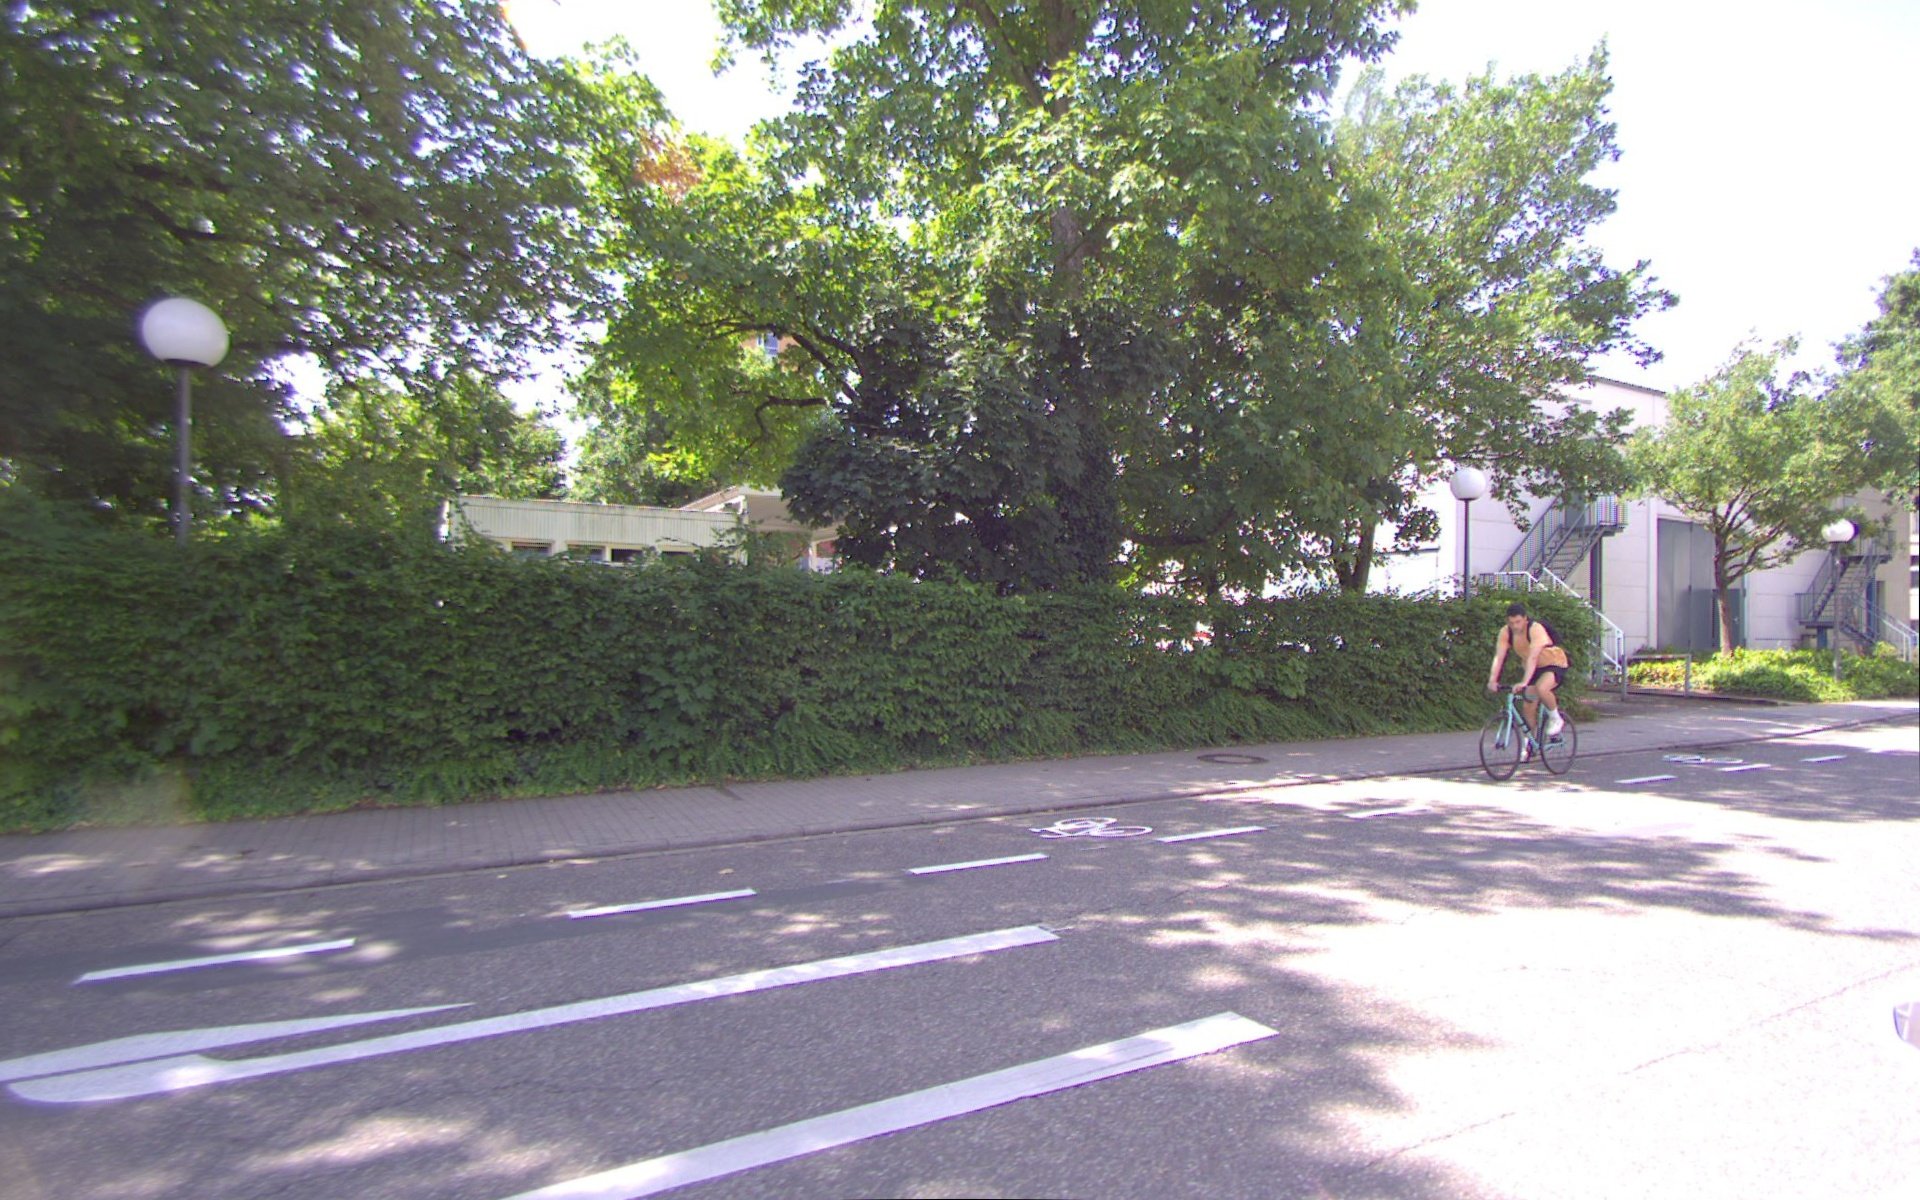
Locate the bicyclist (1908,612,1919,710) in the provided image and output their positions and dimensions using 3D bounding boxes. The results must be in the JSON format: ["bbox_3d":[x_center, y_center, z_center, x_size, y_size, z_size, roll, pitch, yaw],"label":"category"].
[{"bbox_3d":[17.675,1.096,18.050,0.908,1.759,0.689,2,-2,-30],"label":"bicyclist"}]

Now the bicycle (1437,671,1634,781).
[{"bbox_3d":[6.004,1.263,10.446,2.183,1.002,0.789,2,-2,-30],"label":"bicycle"}]

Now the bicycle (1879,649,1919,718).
[{"bbox_3d":[17.527,1.494,18.186,2.183,1.186,0.689,2,-2,-30],"label":"bicycle"}]

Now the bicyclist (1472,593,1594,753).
[{"bbox_3d":[5.946,0.738,10.422,1.006,1.568,0.689,2,-2,-30],"label":"bicyclist"}]

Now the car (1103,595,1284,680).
[{"bbox_3d":[6.028,0.959,26.588,1.974,2.012,4.904,3,-2,-26],"label":"car"}]
